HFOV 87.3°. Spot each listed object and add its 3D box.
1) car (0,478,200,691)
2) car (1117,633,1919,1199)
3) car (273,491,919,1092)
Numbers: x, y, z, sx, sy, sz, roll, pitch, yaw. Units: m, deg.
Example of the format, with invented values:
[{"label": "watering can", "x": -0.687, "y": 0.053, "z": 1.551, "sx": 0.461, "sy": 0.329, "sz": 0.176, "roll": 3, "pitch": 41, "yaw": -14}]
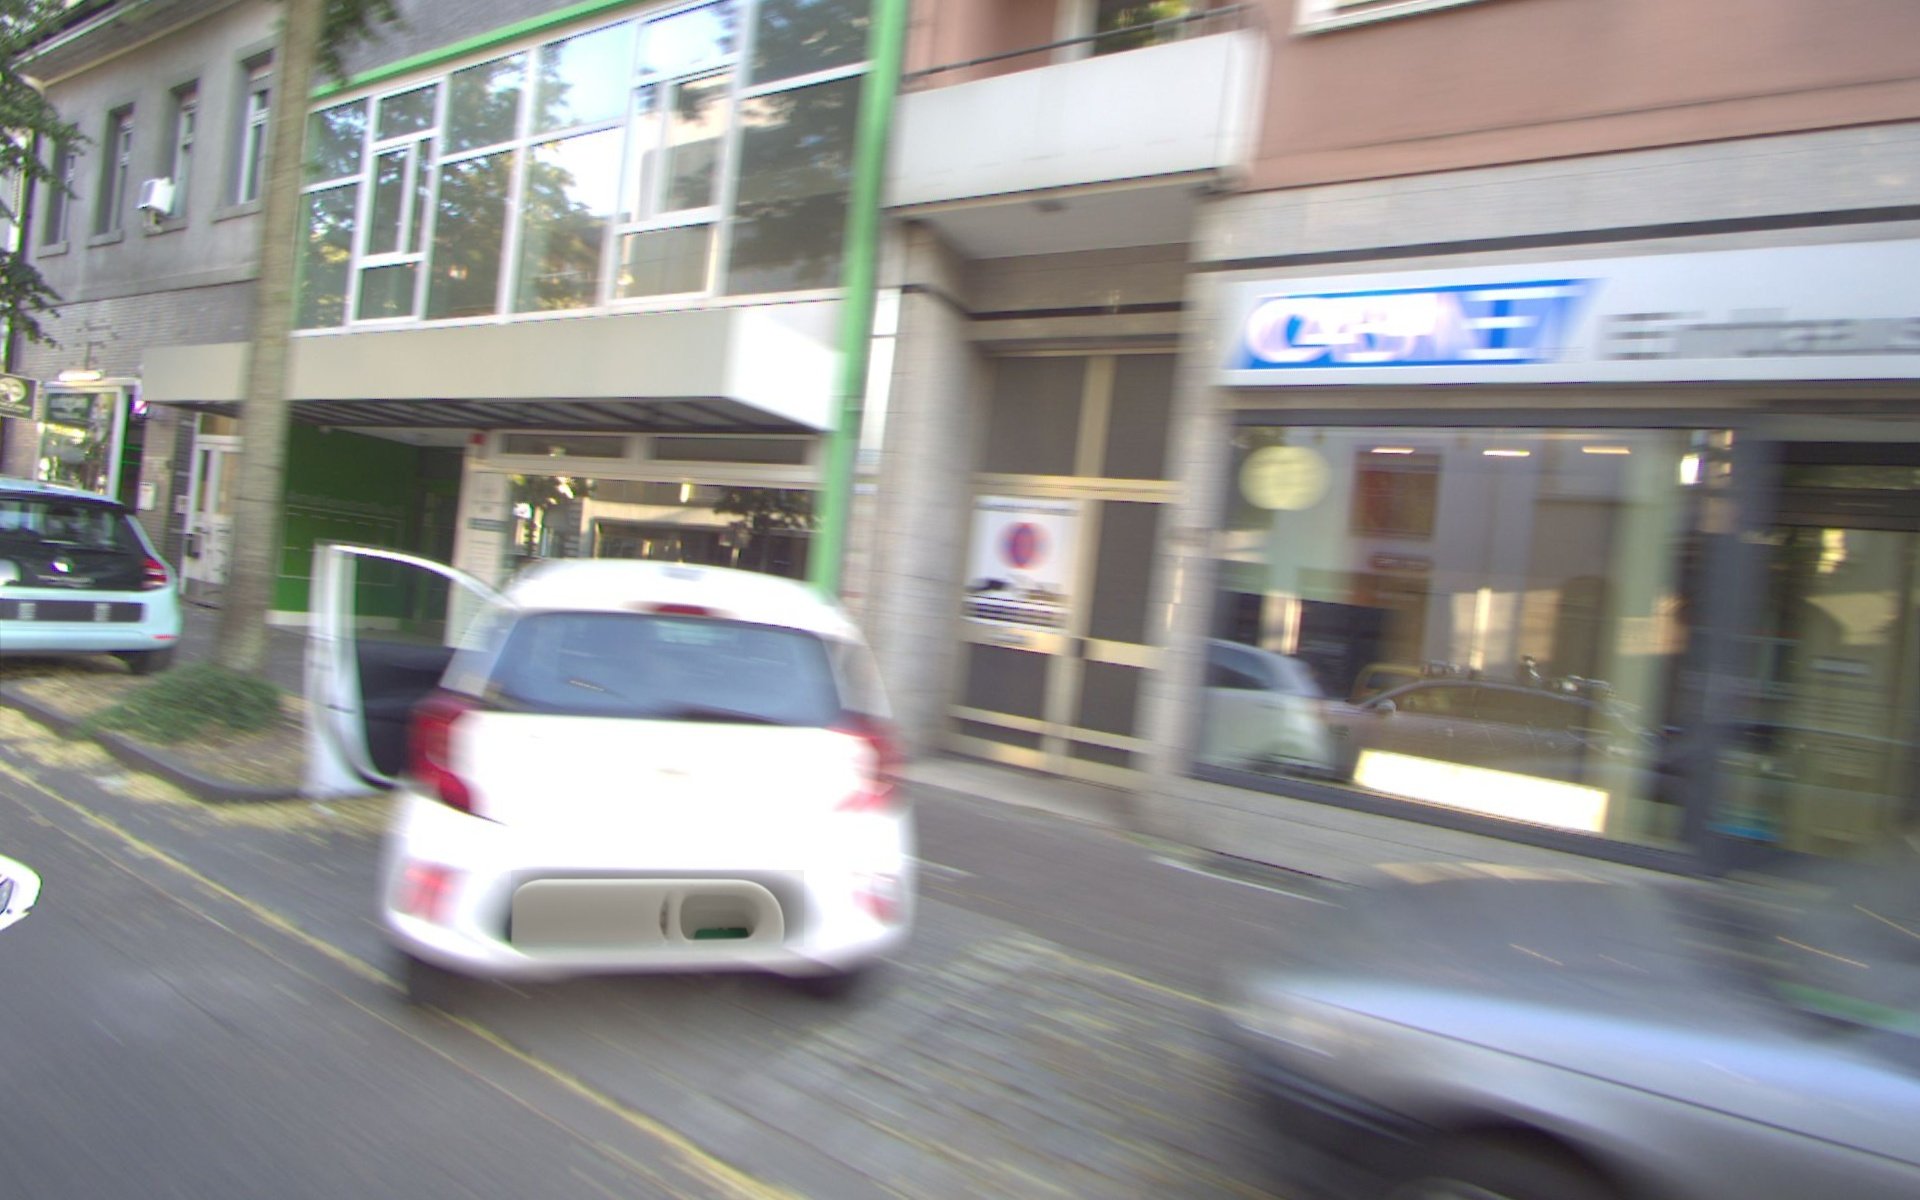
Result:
[{"label": "car", "x": -8.335, "y": -0.267, "z": 8.610, "sx": 3.493, "sy": 1.563, "sz": 1.692, "roll": 7, "pitch": 2, "yaw": 31}, {"label": "car", "x": 2.554, "y": 1.060, "z": 2.091, "sx": 3.926, "sy": 1.494, "sz": 1.824, "roll": 7, "pitch": 4, "yaw": 34}, {"label": "car", "x": -1.503, "y": 0.480, "z": 4.617, "sx": 1.640, "sy": 1.605, "sz": 3.607, "roll": 5, "pitch": 2, "yaw": -17}]
